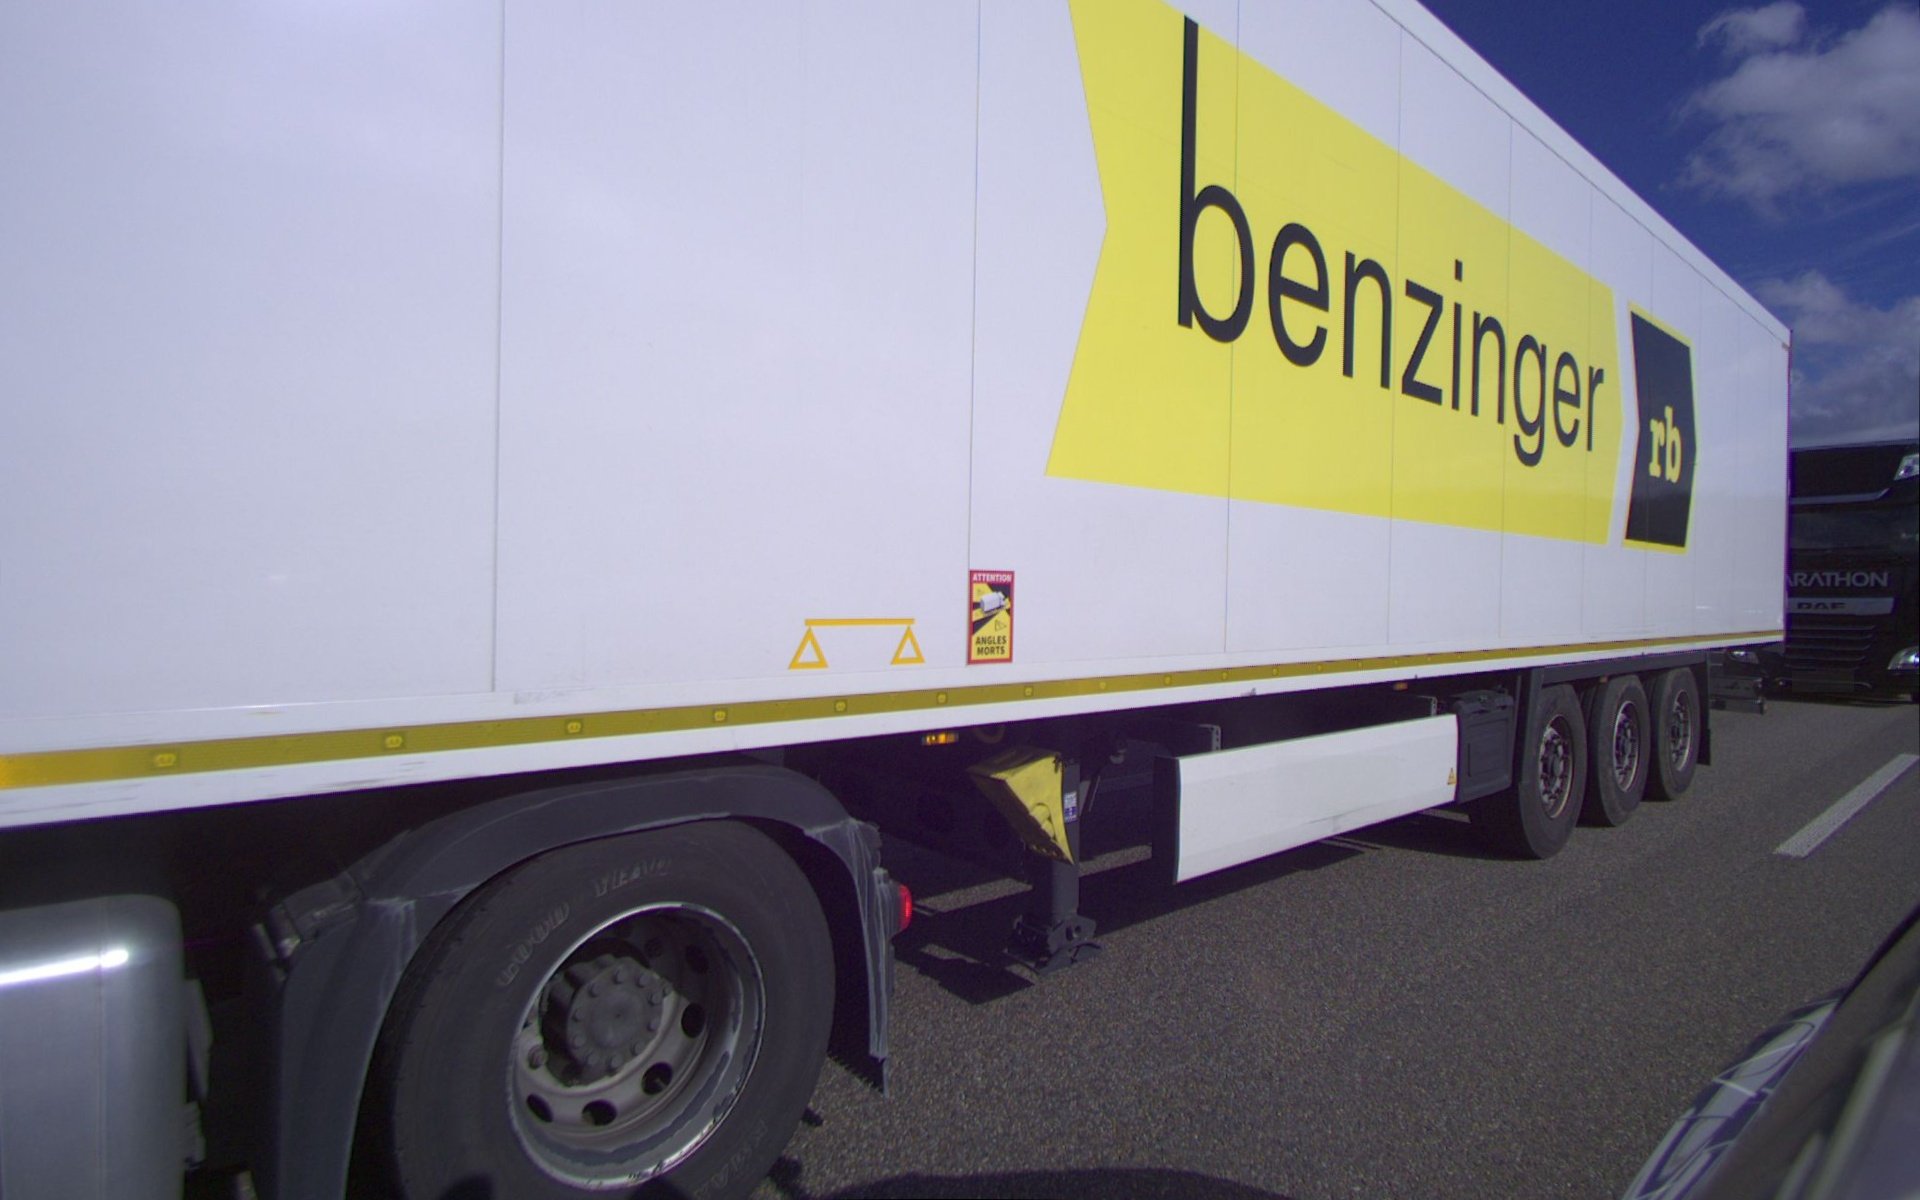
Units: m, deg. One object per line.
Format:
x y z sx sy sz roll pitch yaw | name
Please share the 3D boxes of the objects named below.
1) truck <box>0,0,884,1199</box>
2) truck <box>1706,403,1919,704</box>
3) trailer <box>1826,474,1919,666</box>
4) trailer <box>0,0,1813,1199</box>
-3.242 -0.664 1.539 5.724 3.988 2.806 0 0 -41 | truck
16.190 -0.632 17.817 10.026 4.090 2.744 0 -2 -41 | truck
23.212 -0.595 23.998 8.558 4.012 2.720 1 -2 -41 | trailer
2.137 -0.698 6.232 12.841 3.988 2.796 0 0 -41 | trailer
